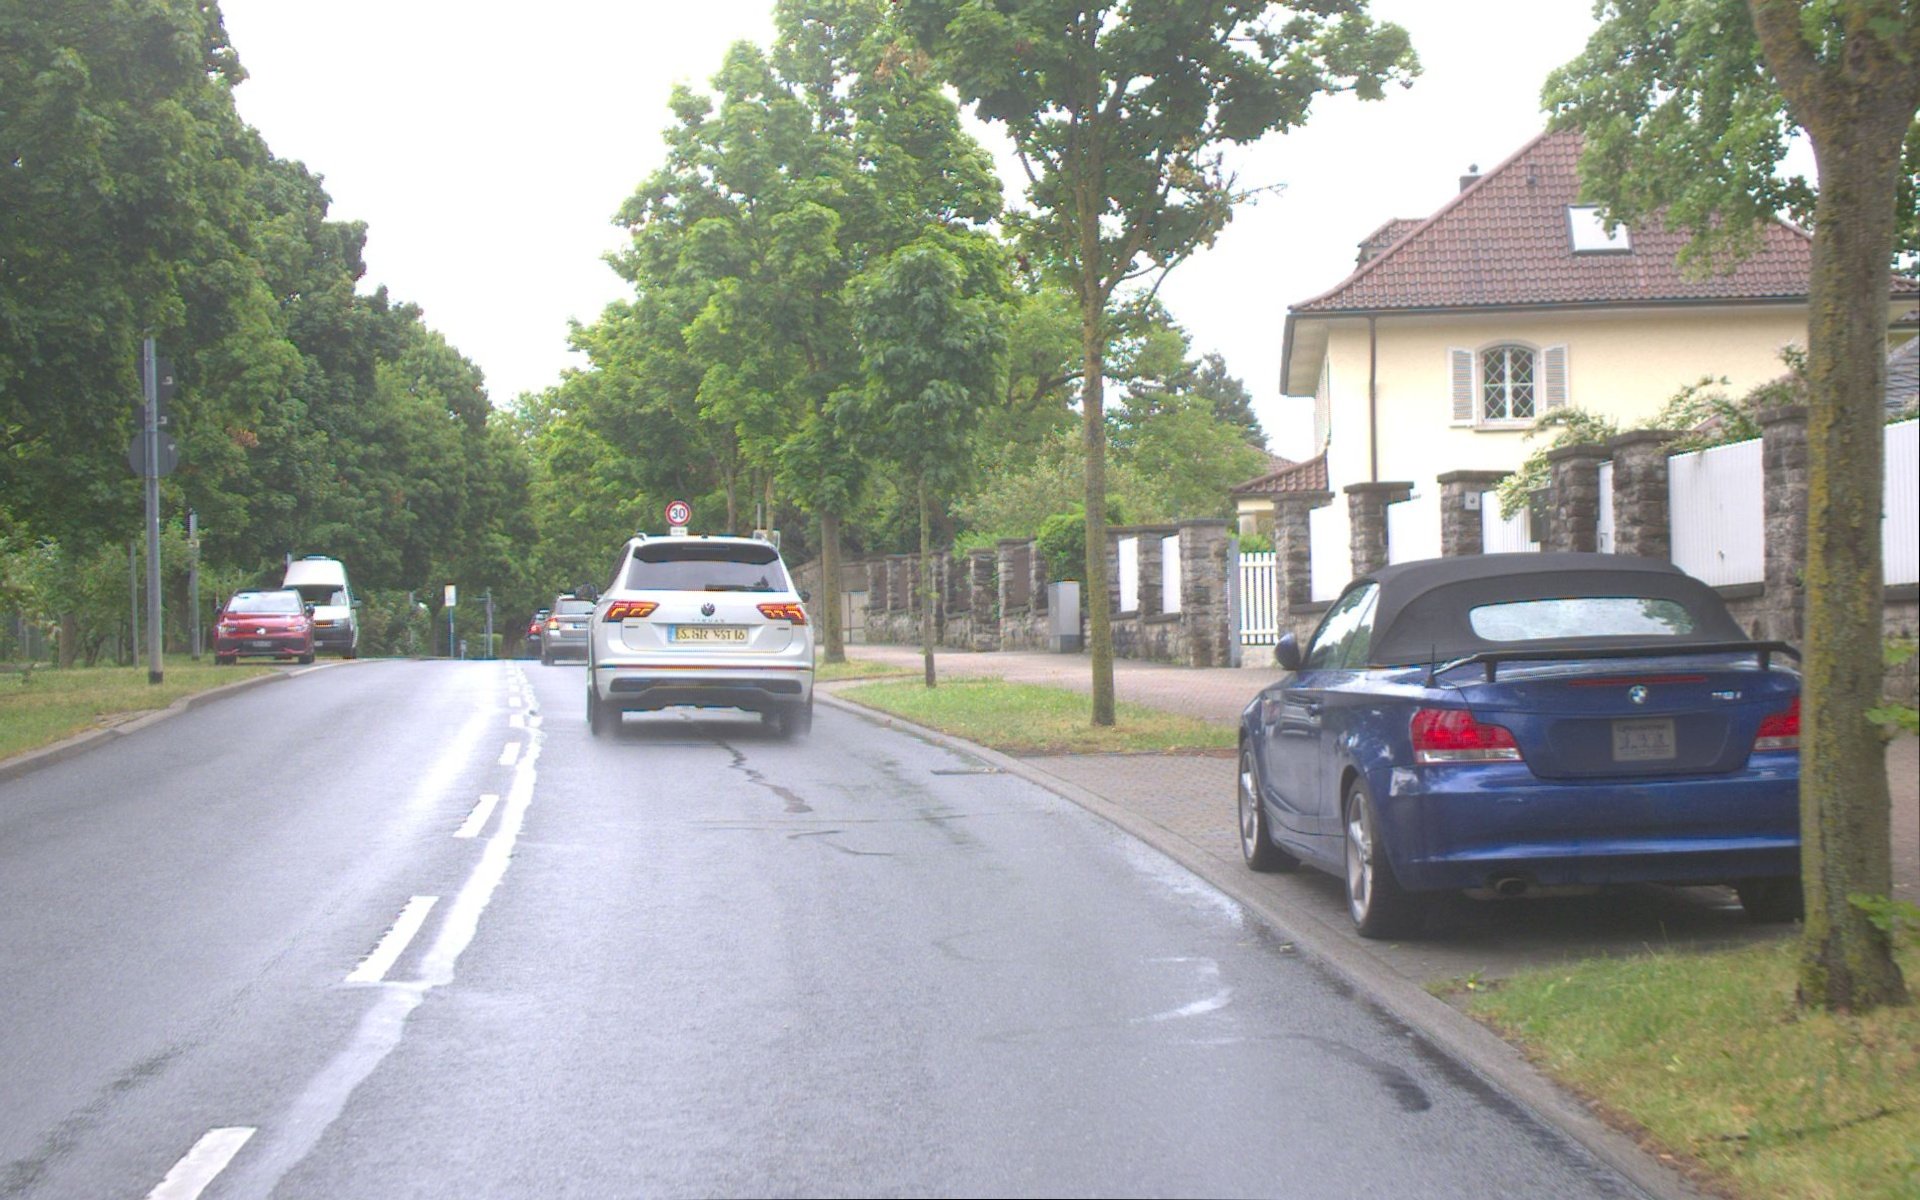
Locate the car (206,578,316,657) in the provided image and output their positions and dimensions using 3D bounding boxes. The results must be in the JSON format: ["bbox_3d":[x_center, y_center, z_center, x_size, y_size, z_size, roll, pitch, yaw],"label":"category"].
[{"bbox_3d":[-13.266,0.331,65.421,1.842,1.461,4.250,0,0,-9],"label":"car"}]

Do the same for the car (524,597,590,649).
[{"bbox_3d":[-11.880,0.670,101.482,1.851,1.413,4.227,1,1,-6],"label":"car"}]

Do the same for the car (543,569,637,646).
[{"bbox_3d":[-7.638,0.128,70.991,1.840,1.482,4.001,1,1,-6],"label":"car"}]

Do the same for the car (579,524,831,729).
[{"bbox_3d":[-2.250,0.177,29.402,1.996,1.626,4.001,0,1,-6],"label":"car"}]

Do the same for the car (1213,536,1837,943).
[{"bbox_3d":[2.151,0.483,14.106,1.641,1.373,3.829,-2,0,-4],"label":"car"}]

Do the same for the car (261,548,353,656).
[{"bbox_3d":[-16.099,0.081,84.956,1.993,2.552,5.233,-1,-1,-8],"label":"car"}]
